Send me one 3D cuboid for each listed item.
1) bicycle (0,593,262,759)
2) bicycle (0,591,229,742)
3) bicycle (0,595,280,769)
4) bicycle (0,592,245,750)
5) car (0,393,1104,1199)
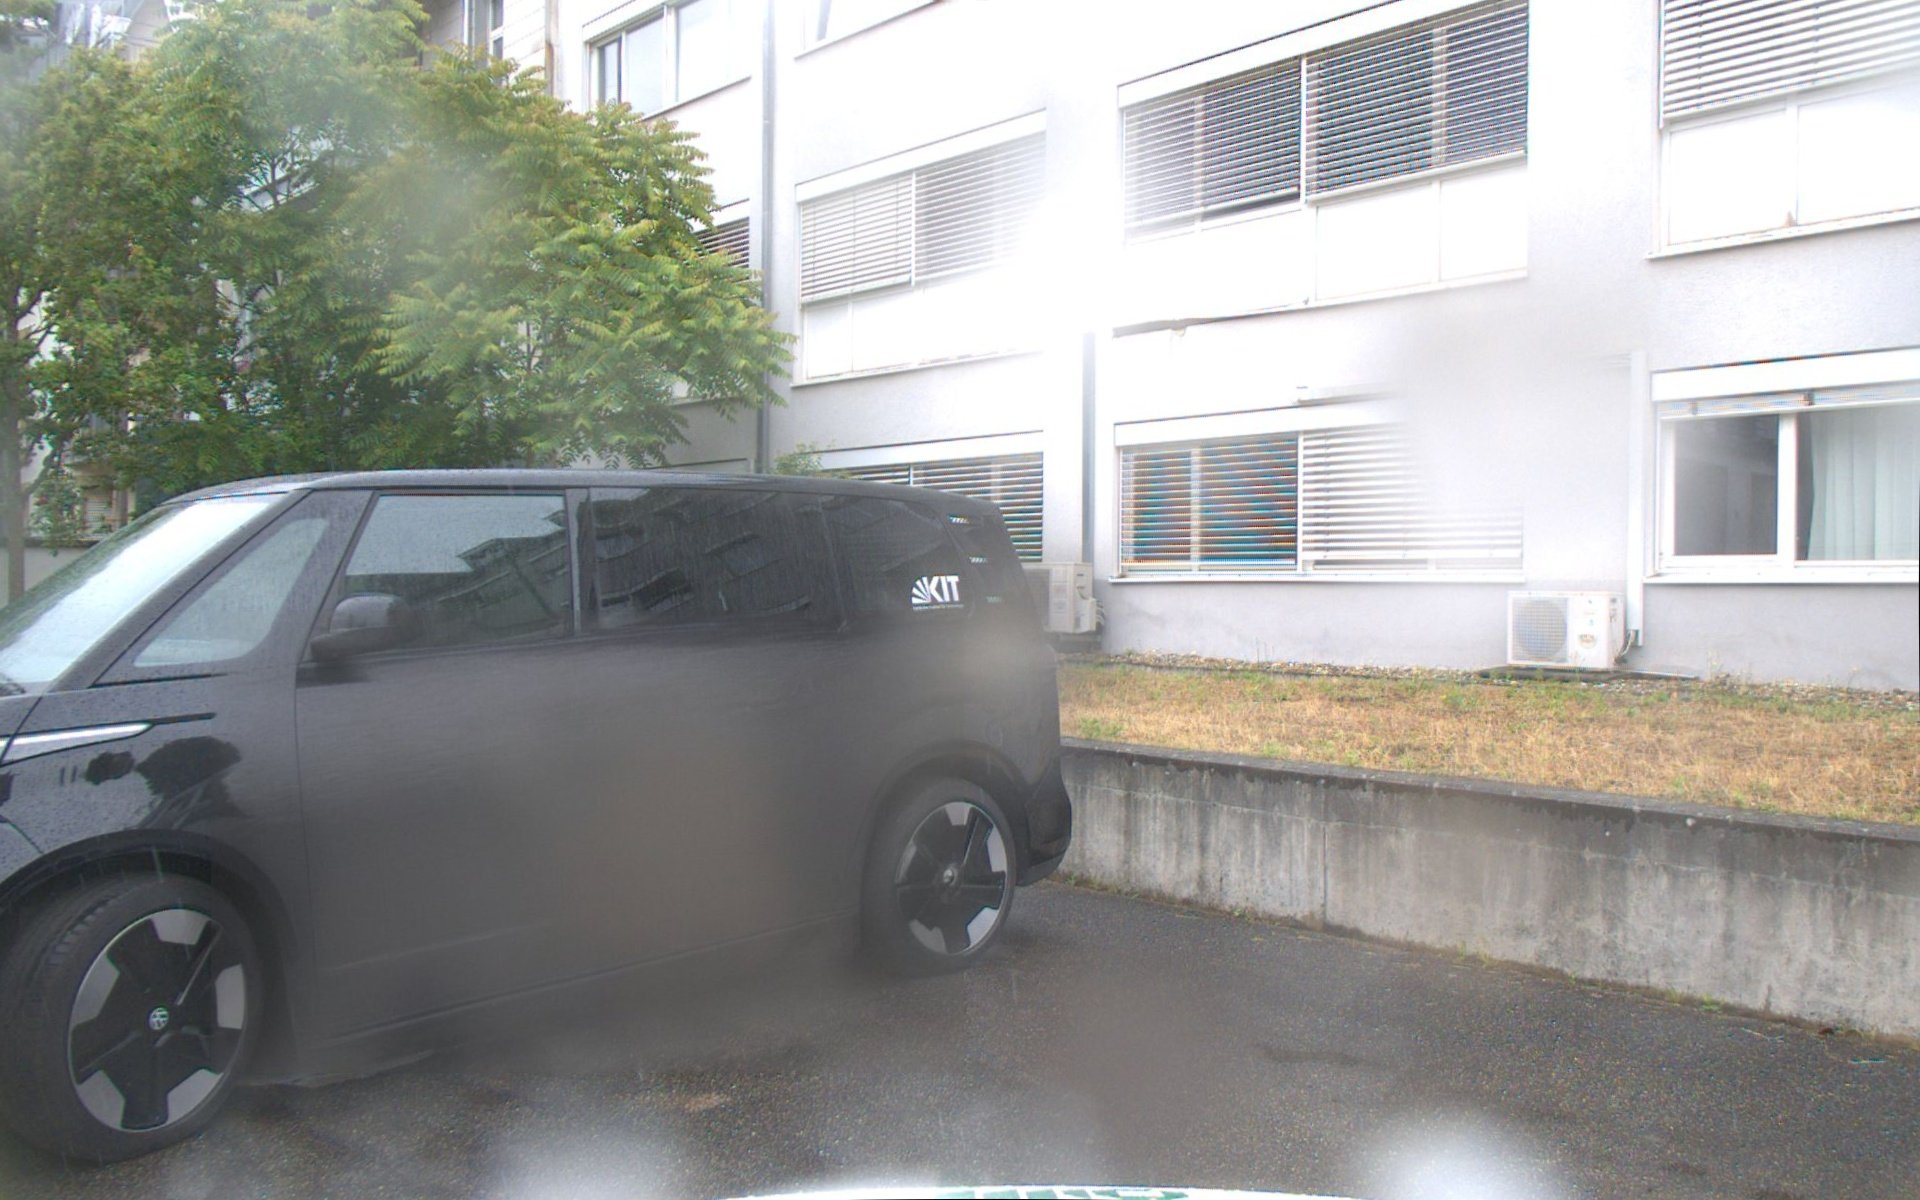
[{"bbox_3d":[-7.306,0.585,13.152,3.192,1.263,0.622,0,0,-39],"label":"bicycle"},{"bbox_3d":[-8.055,0.557,14.226,3.192,1.263,0.622,0,0,-39],"label":"bicycle"},{"bbox_3d":[-6.919,0.600,12.578,3.192,1.263,0.622,0,0,-39],"label":"bicycle"},{"bbox_3d":[-7.684,0.571,13.699,3.192,1.263,0.622,0,0,-39],"label":"bicycle"},{"bbox_3d":[-1.716,0.463,5.917,4.487,1.930,2.014,0,0,-44],"label":"car"}]
